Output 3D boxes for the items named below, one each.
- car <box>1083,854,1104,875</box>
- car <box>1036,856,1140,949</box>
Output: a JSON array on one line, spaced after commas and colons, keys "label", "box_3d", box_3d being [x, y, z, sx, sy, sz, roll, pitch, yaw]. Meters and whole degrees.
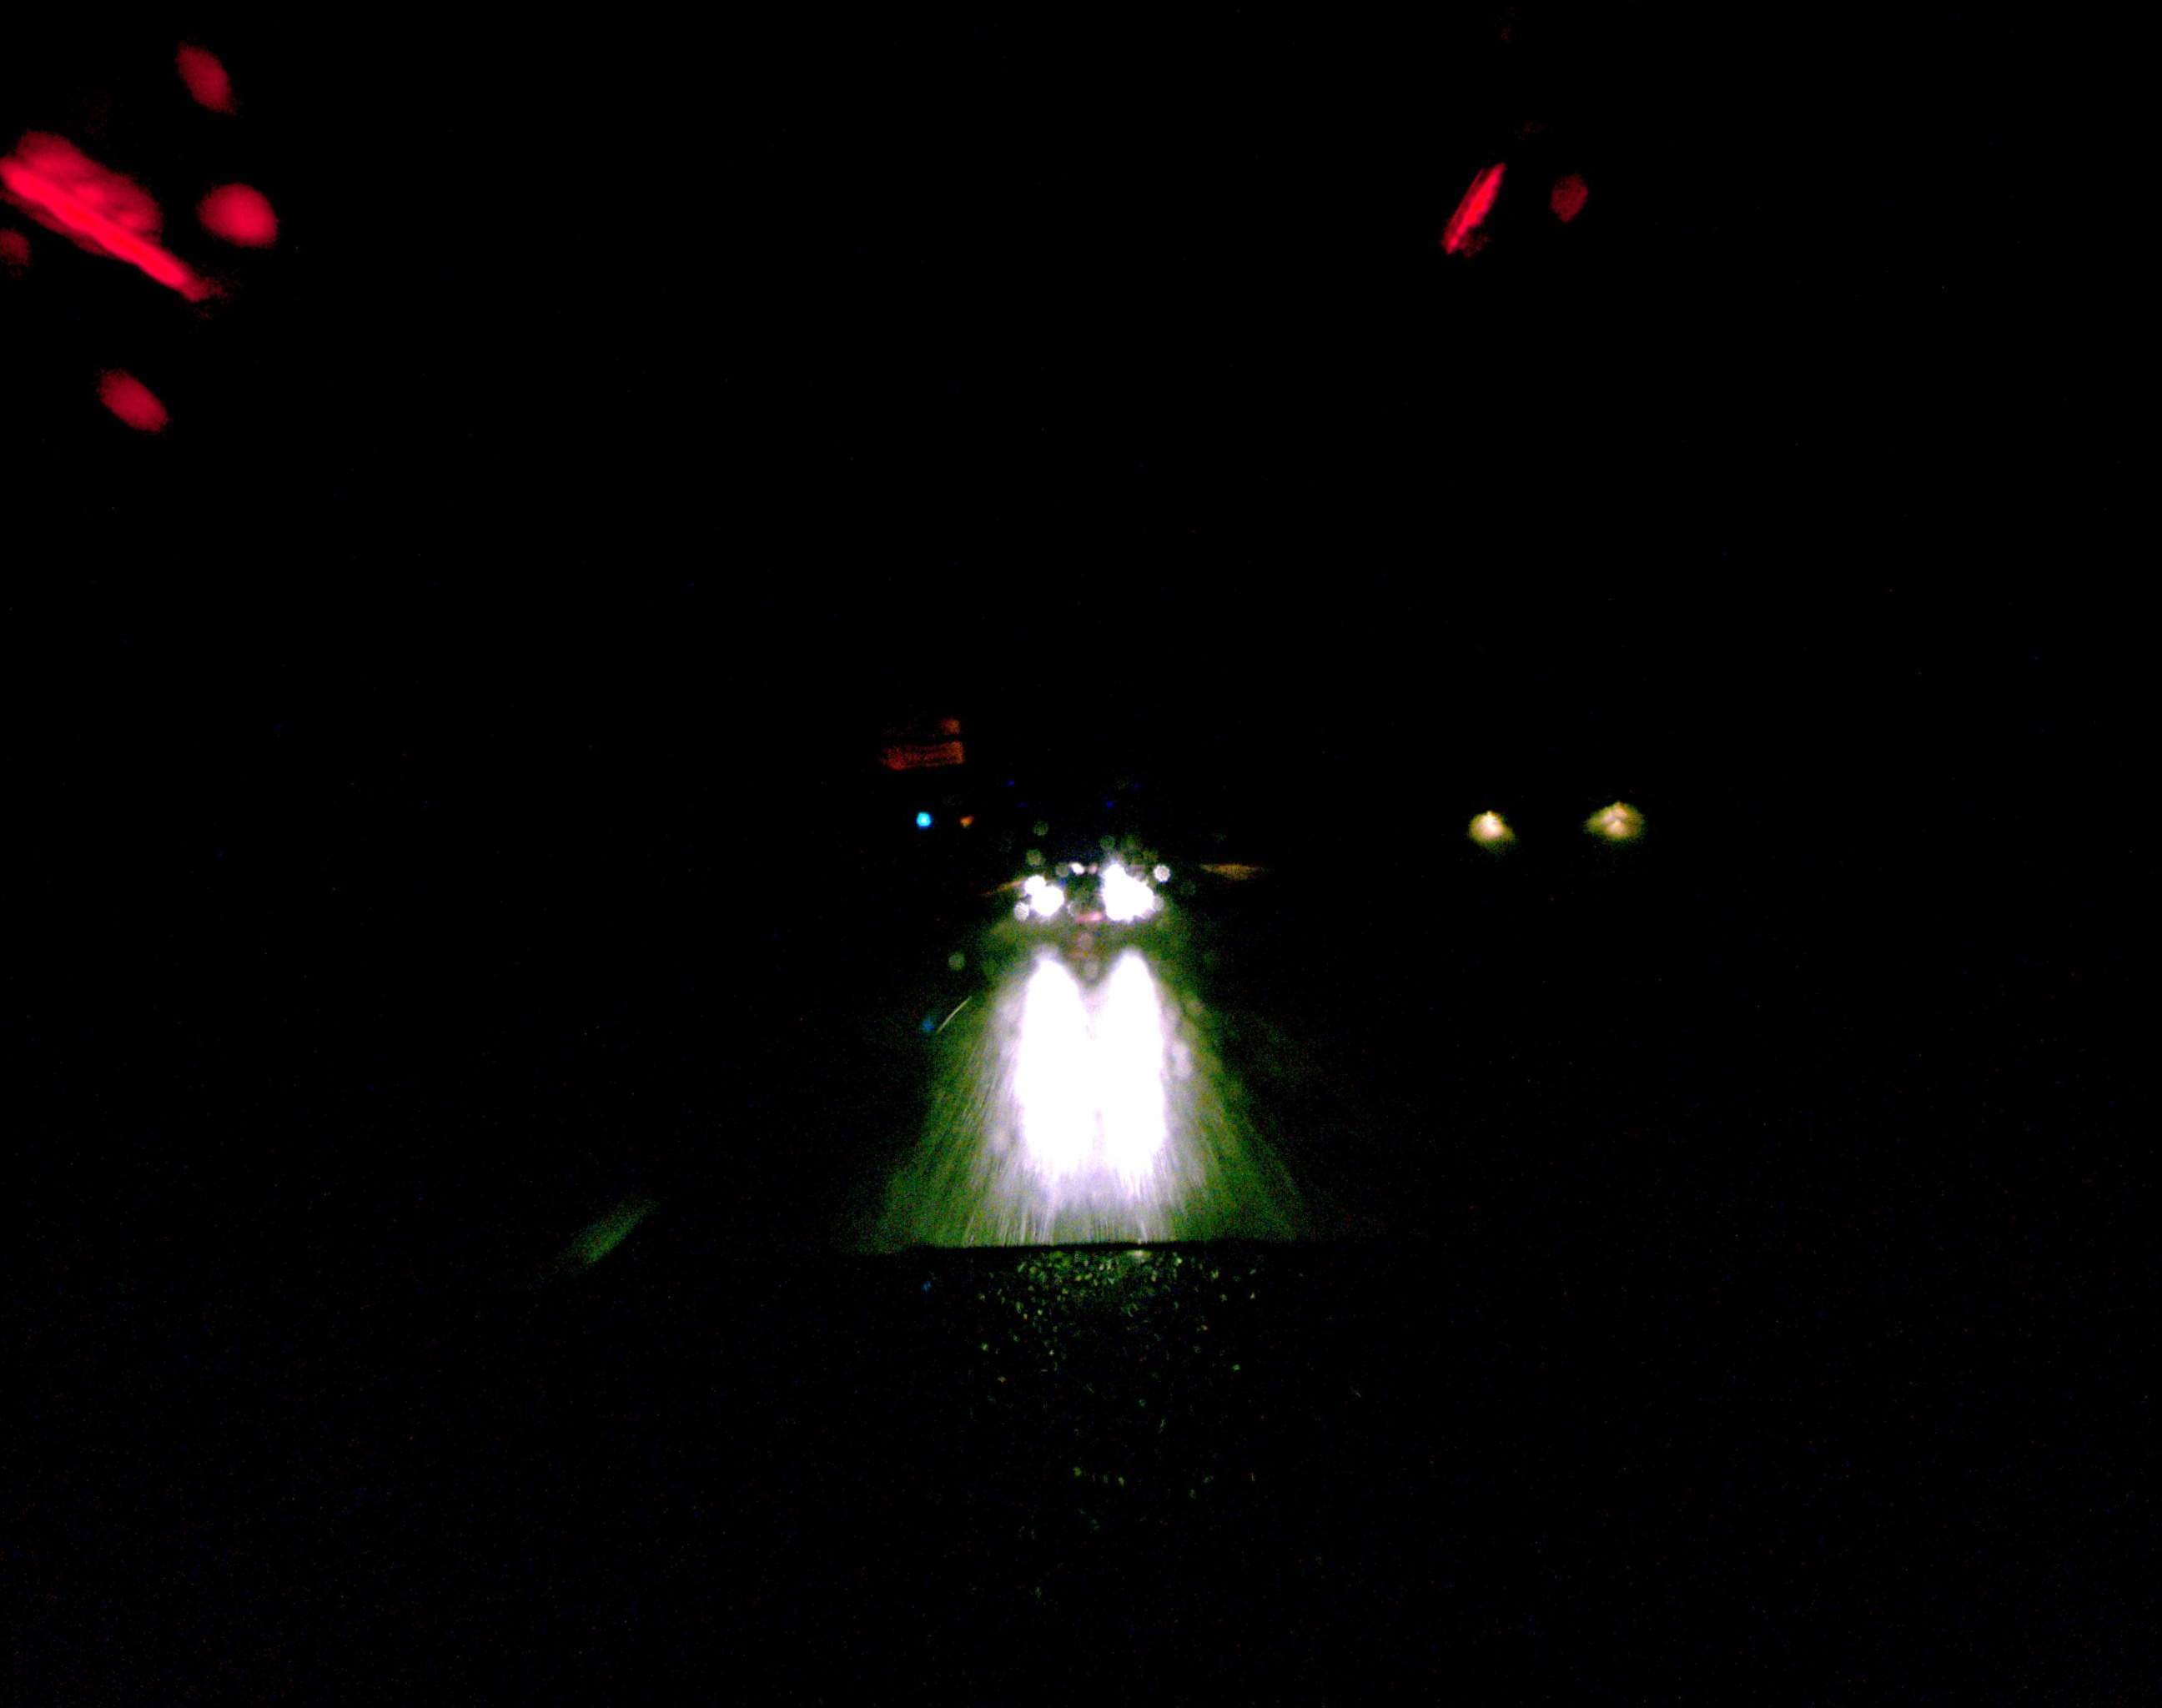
[{"label": "car", "box_3d": [1.209, 0.932, 72.061, 1.759, 1.807, 4.710, -2, 0, 3]}, {"label": "car", "box_3d": [0.186, 0.872, 15.861, 1.809, 1.590, 4.786, -1, 0, 1]}]
